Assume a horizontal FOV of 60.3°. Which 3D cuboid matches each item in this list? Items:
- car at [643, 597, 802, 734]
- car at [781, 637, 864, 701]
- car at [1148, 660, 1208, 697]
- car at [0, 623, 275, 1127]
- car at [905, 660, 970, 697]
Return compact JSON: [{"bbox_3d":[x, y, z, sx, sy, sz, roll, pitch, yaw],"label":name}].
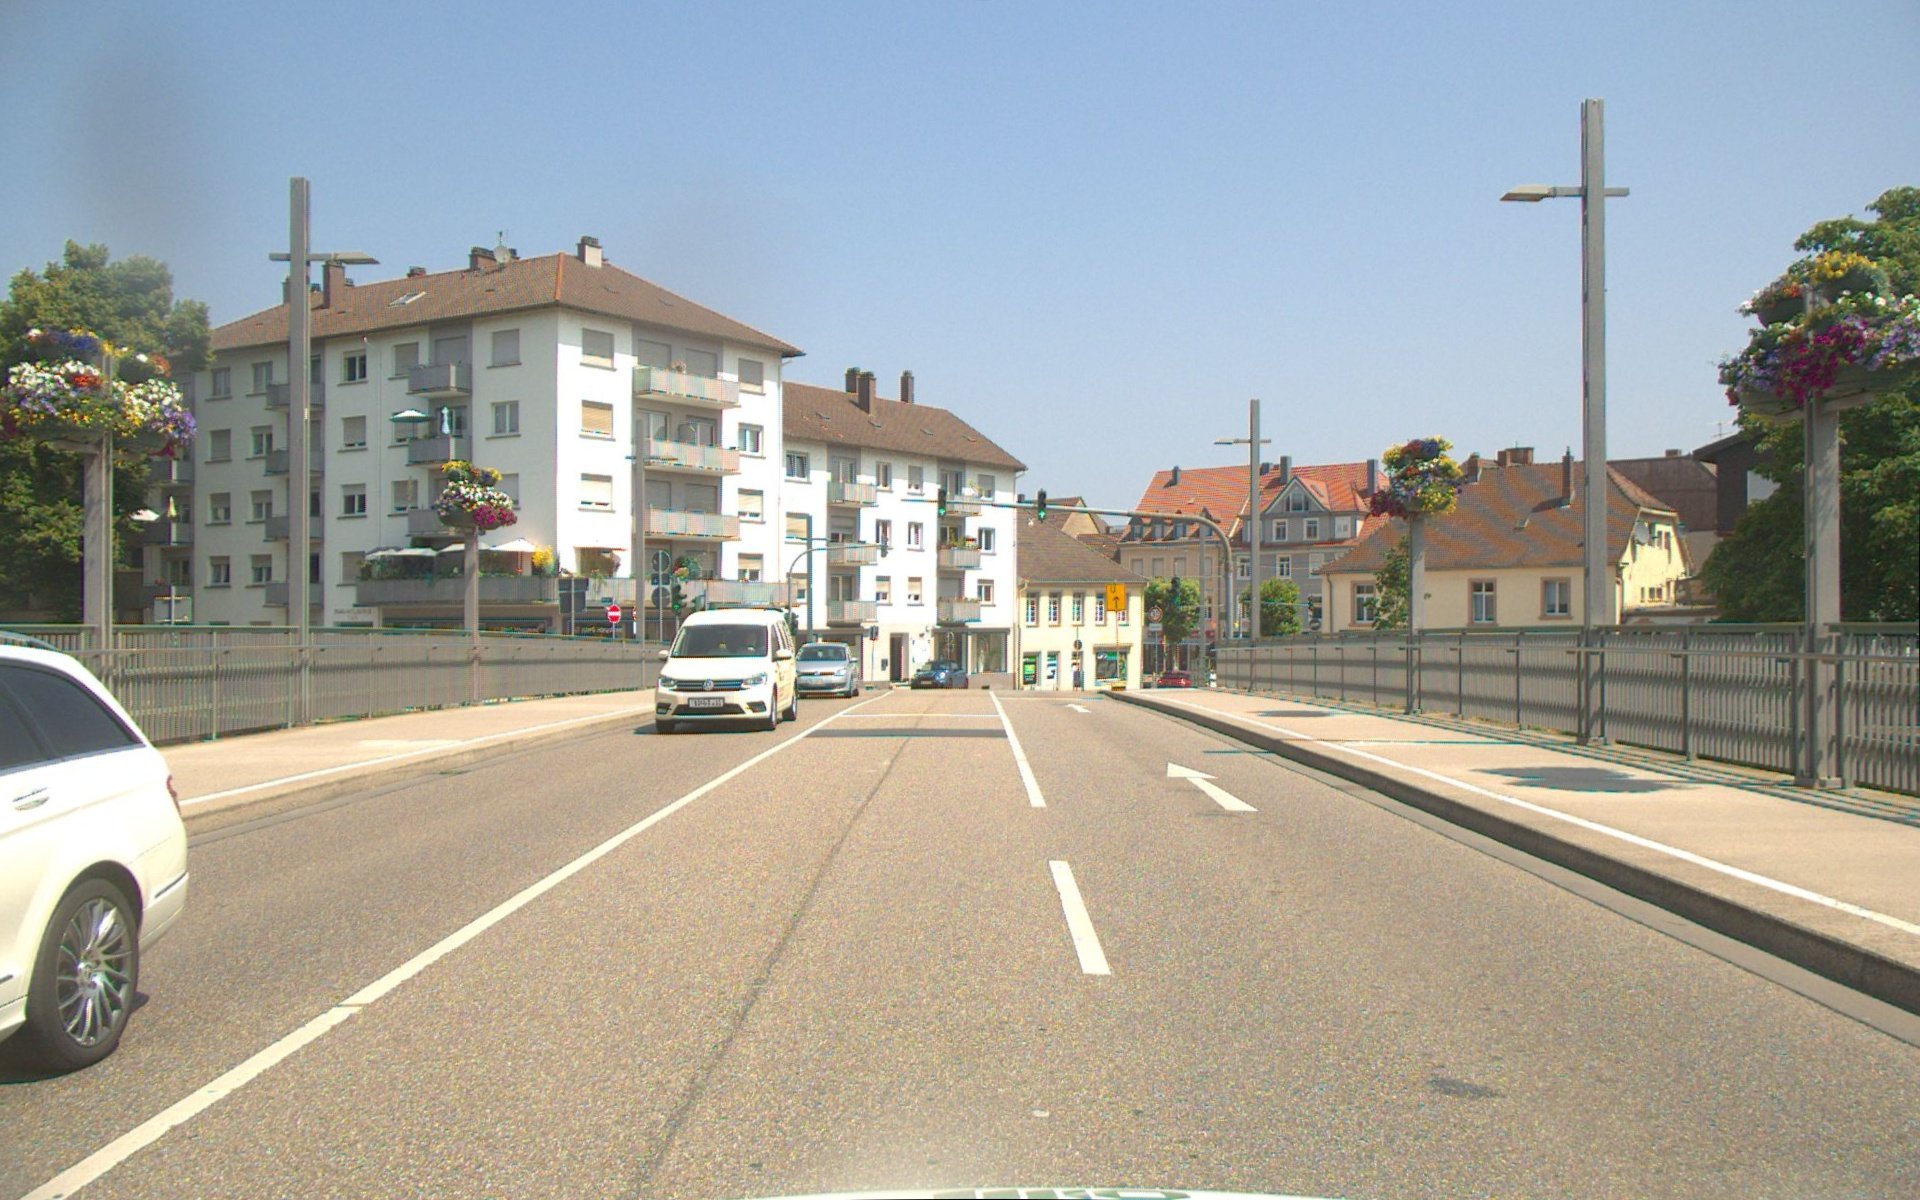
[{"bbox_3d":[-3.588,0.984,25.765,1.723,1.890,4.646,-2,-2,0],"label":"car"},{"bbox_3d":[-3.585,1.780,43.619,1.724,1.546,4.000,-1,-1,2],"label":"car"},{"bbox_3d":[10.957,3.908,82.751,1.949,1.641,4.342,-1,0,22],"label":"car"},{"bbox_3d":[-3.705,0.821,4.388,1.806,1.457,4.713,-2,-1,0],"label":"car"},{"bbox_3d":[-0.949,3.367,70.990,1.622,1.466,3.756,-2,-2,19],"label":"car"}]
